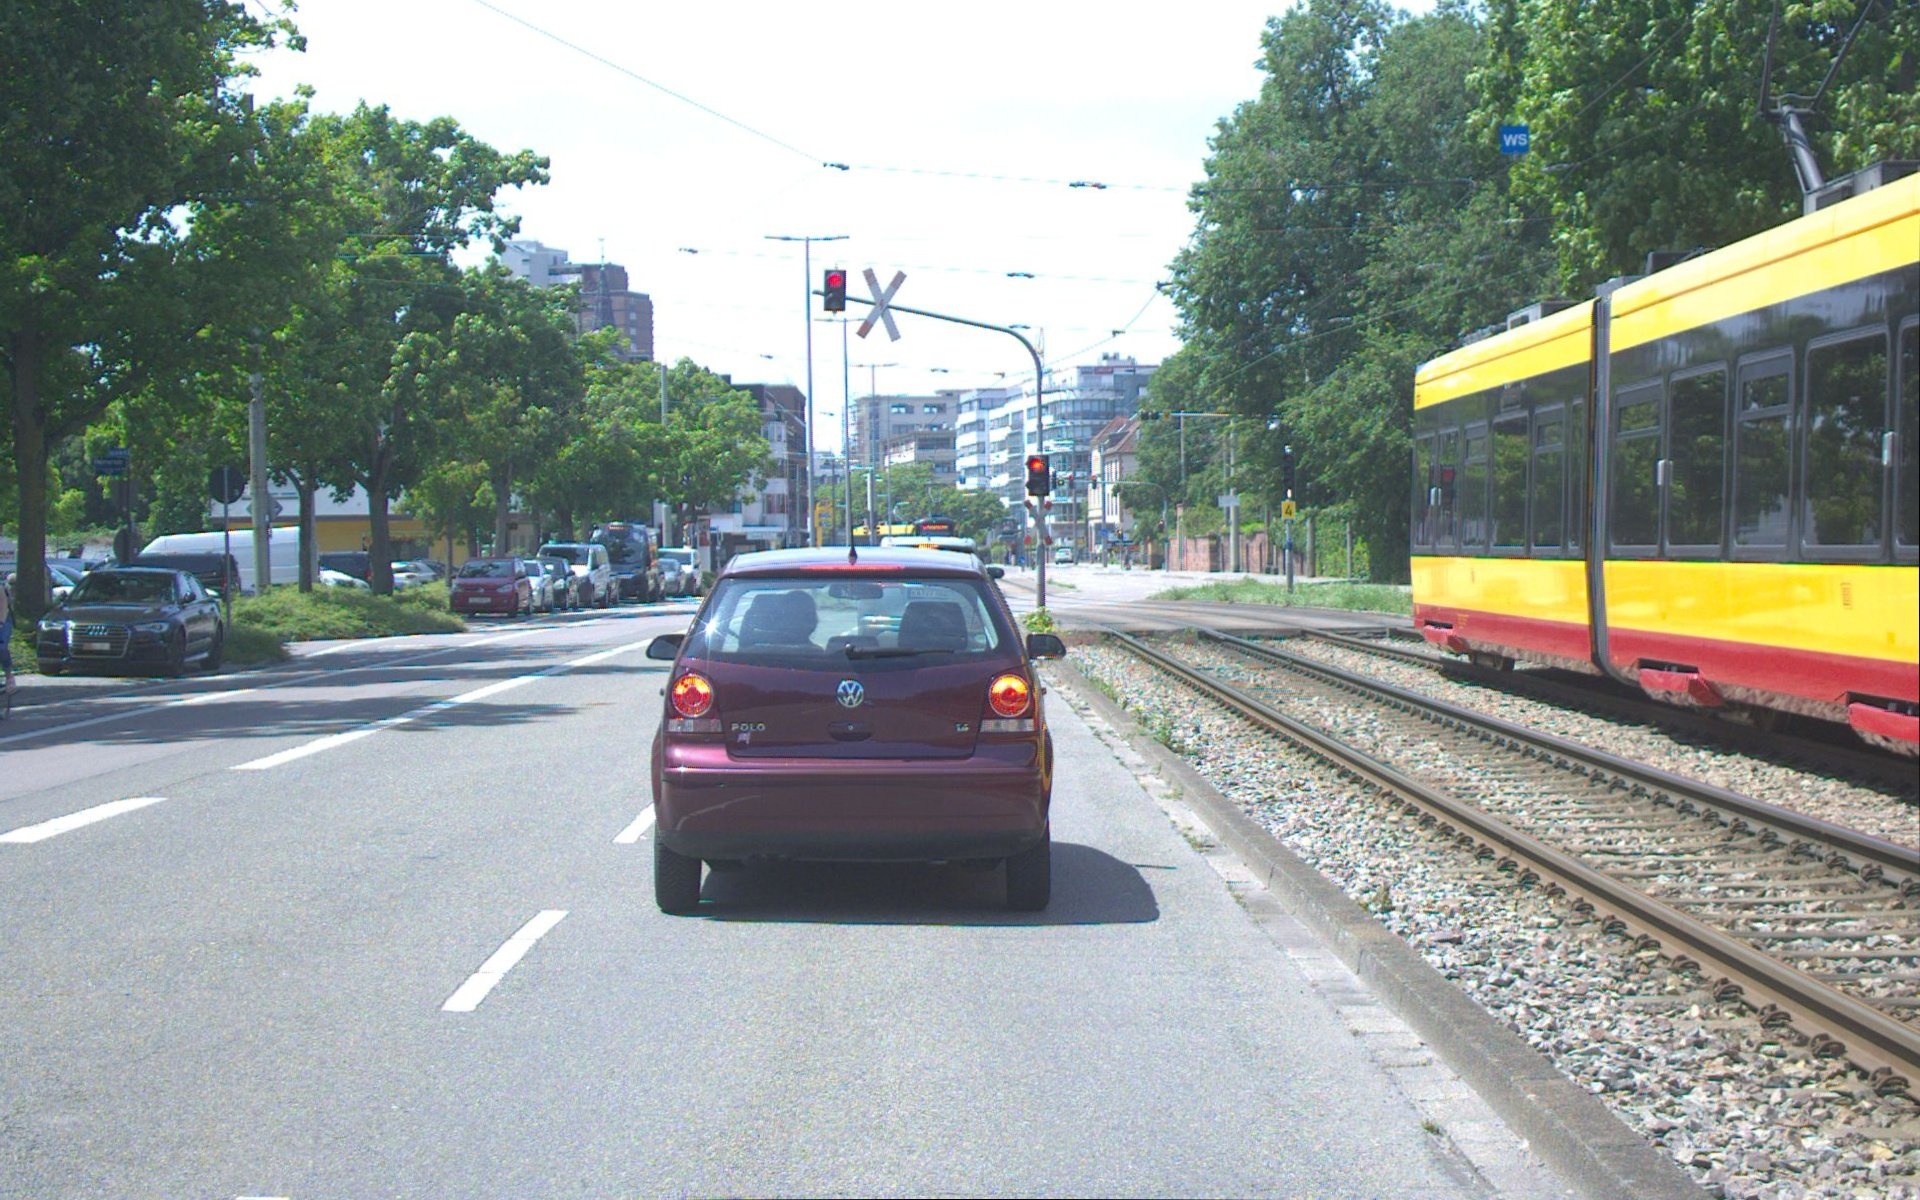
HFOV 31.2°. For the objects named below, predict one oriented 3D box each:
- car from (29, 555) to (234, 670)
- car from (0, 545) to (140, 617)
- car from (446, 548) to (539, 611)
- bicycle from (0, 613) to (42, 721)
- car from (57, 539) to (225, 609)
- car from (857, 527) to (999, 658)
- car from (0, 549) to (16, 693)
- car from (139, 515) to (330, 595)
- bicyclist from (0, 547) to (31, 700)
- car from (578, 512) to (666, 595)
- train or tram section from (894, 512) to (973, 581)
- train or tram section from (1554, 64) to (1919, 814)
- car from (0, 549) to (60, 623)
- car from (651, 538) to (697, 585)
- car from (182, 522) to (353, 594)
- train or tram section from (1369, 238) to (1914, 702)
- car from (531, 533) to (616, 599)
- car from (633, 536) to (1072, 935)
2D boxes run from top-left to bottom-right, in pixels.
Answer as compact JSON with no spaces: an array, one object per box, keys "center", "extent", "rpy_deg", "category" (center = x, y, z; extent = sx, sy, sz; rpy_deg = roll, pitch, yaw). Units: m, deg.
[{"center":[-11.359,0.136,47.427],"extent":[1.818,1.471,4.449],"rpy_deg":[1,1,-1],"category":"car"},{"center":[-21.662,-0.436,80.514],"extent":[4.344,1.579,1.912],"rpy_deg":[-1,1,5],"category":"car"},{"center":[-11.548,-0.498,85.176],"extent":[1.663,1.491,4.000],"rpy_deg":[1,0,1],"category":"car"},{"center":[-9.332,0.652,32.626],"extent":[0.701,0.948,2.243],"rpy_deg":[-3,2,-3],"category":"bicycle"},{"center":[-21.718,-0.695,91.257],"extent":[3.987,1.740,1.998],"rpy_deg":[-1,1,-1],"category":"car"},{"center":[-0.451,-0.131,45.435],"extent":[1.777,1.641,4.000],"rpy_deg":[1,1,-1],"category":"car"},{"center":[-11.301,0.248,35.872],"extent":[1.818,1.559,4.181],"rpy_deg":[1,1,-1],"category":"car"},{"center":[-21.466,-1.316,101.804],"extent":[5.097,2.237,2.378],"rpy_deg":[1,0,1],"category":"car"},{"center":[-9.350,0.234,32.613],"extent":[0.735,1.426,1.125],"rpy_deg":[-4,1,-4],"category":"bicyclist"},{"center":[-11.269,-1.525,115.001],"extent":[2.361,2.683,5.307],"rpy_deg":[1,0,0],"category":"car"},{"center":[-1.526,-2.986,187.886],"extent":[2.740,3.597,12.873],"rpy_deg":[1,1,-7],"category":"train or tram section"},{"center":[6.411,-0.914,22.013],"extent":[3.028,3.785,13.090],"rpy_deg":[-1,1,1],"category":"train or tram section"},{"center":[-22.170,-0.273,75.417],"extent":[4.343,1.579,1.913],"rpy_deg":[-1,1,-2],"category":"car"},{"center":[-11.519,-1.536,138.286],"extent":[1.774,1.822,4.001],"rpy_deg":[1,0,-6],"category":"car"},{"center":[-22.737,-1.363,113.027],"extent":[5.097,2.237,2.378],"rpy_deg":[1,0,1],"category":"car"},{"center":[6.383,-1.186,34.762],"extent":[3.028,3.785,12.760],"rpy_deg":[-1,1,0],"category":"train or tram section"},{"center":[-11.431,-0.997,101.962],"extent":[1.783,1.875,4.785],"rpy_deg":[1,0,2],"category":"car"},{"center":[-0.461,0.486,15.234],"extent":[1.672,1.516,4.000],"rpy_deg":[1,1,-1],"category":"car"}]
